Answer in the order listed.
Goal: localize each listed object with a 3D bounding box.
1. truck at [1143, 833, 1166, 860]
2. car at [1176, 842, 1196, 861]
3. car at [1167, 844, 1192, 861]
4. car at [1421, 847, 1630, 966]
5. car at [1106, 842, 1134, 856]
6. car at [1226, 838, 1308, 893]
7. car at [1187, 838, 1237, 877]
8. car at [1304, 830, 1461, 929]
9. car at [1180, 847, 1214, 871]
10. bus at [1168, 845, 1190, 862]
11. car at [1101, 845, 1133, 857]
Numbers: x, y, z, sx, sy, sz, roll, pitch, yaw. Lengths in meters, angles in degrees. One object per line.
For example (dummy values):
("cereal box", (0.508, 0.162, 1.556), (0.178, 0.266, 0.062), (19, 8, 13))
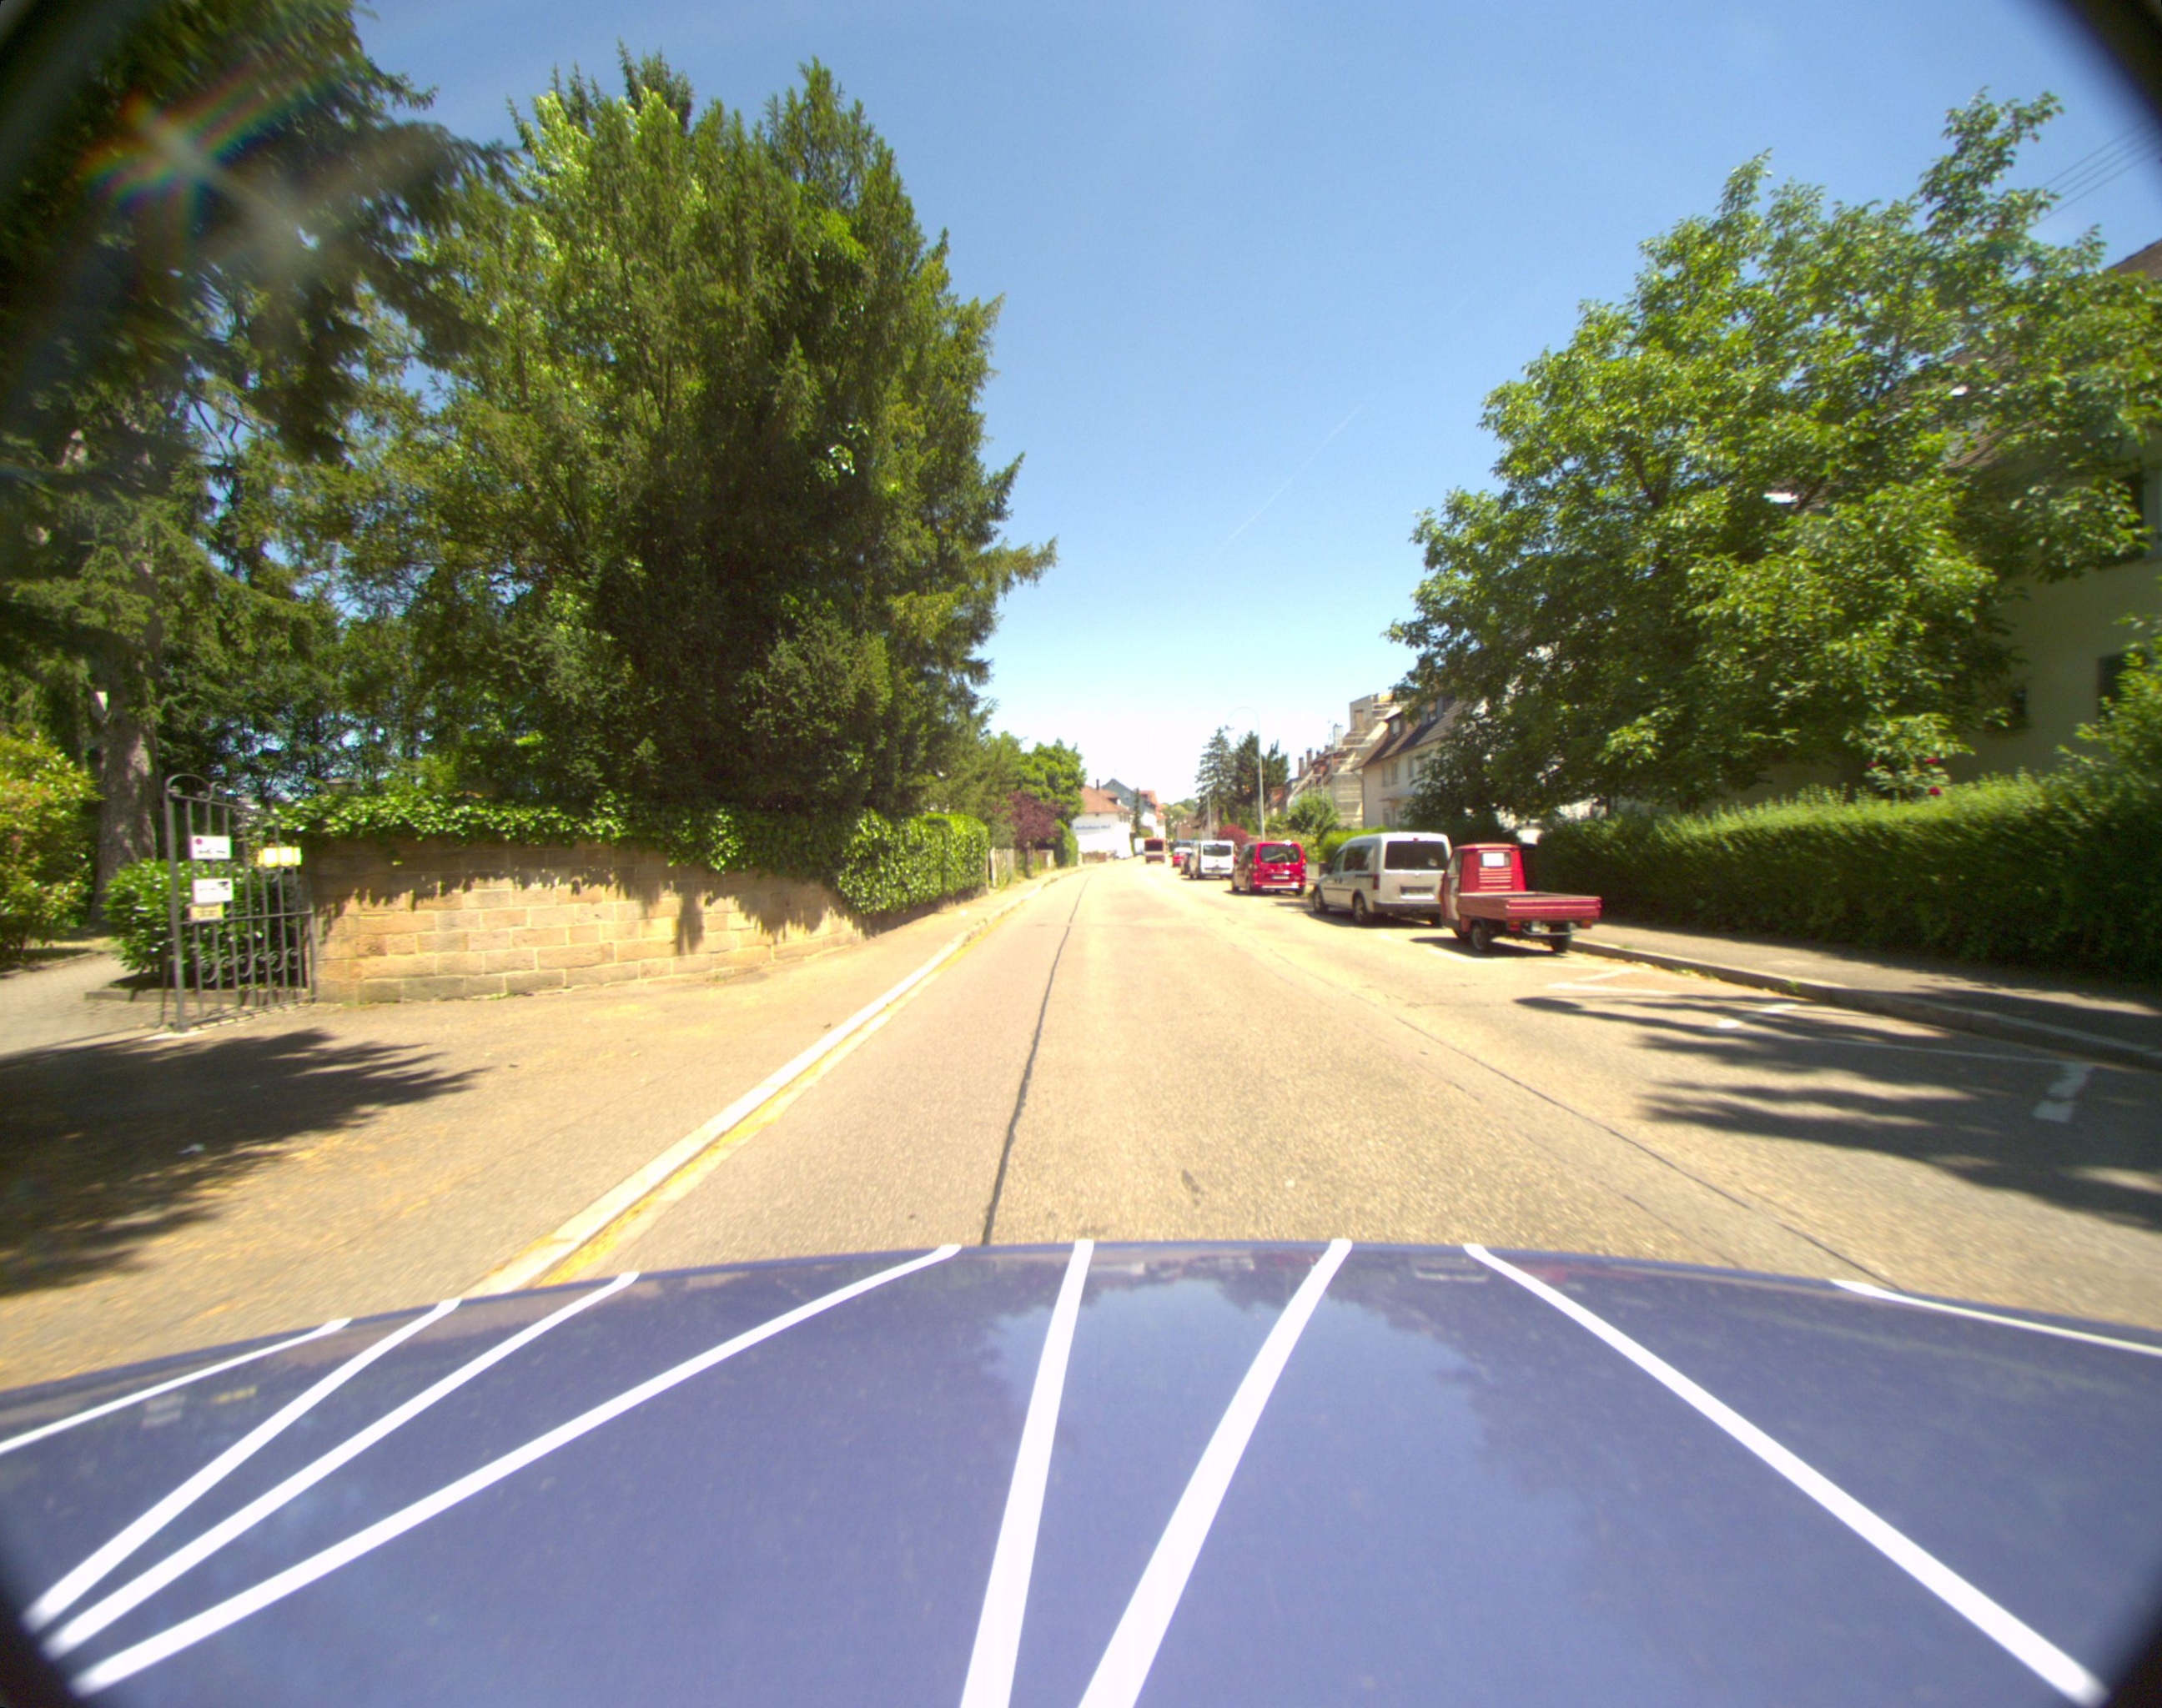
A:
("truck", (8.378, -0.873, 86.370), (2.378, 2.814, 5.660), (-1, 1, 6))
("car", (9.903, -0.234, 71.711), (1.726, 1.726, 3.889), (-1, 0, 8))
("car", (8.703, -0.160, 66.886), (1.763, 1.469, 4.062), (0, 1, 14))
("car", (6.220, 0.644, 10.974), (1.415, 1.495, 2.840), (0, 1, 2))
("car", (6.310, -0.794, 121.679), (4.300, 1.820, 1.739), (-6, 0, 4))
("car", (6.227, 0.329, 25.964), (1.762, 1.717, 4.457), (-1, 1, 1))
("car", (6.706, 0.138, 39.411), (1.891, 1.870, 4.980), (-2, 1, 2))
("car", (6.060, 0.431, 15.855), (1.652, 1.742, 4.354), (-1, 1, 2))
("car", (7.075, 0.285, 46.559), (1.702, 1.376, 4.236), (0, 1, 4))
("bus", (19.835, -0.148, 152.981), (2.908, 3.063, 12.572), (-2, 1, 14))
("car", (5.669, -0.502, 119.202), (4.647, 1.400, 1.770), (-5, 0, 13))
